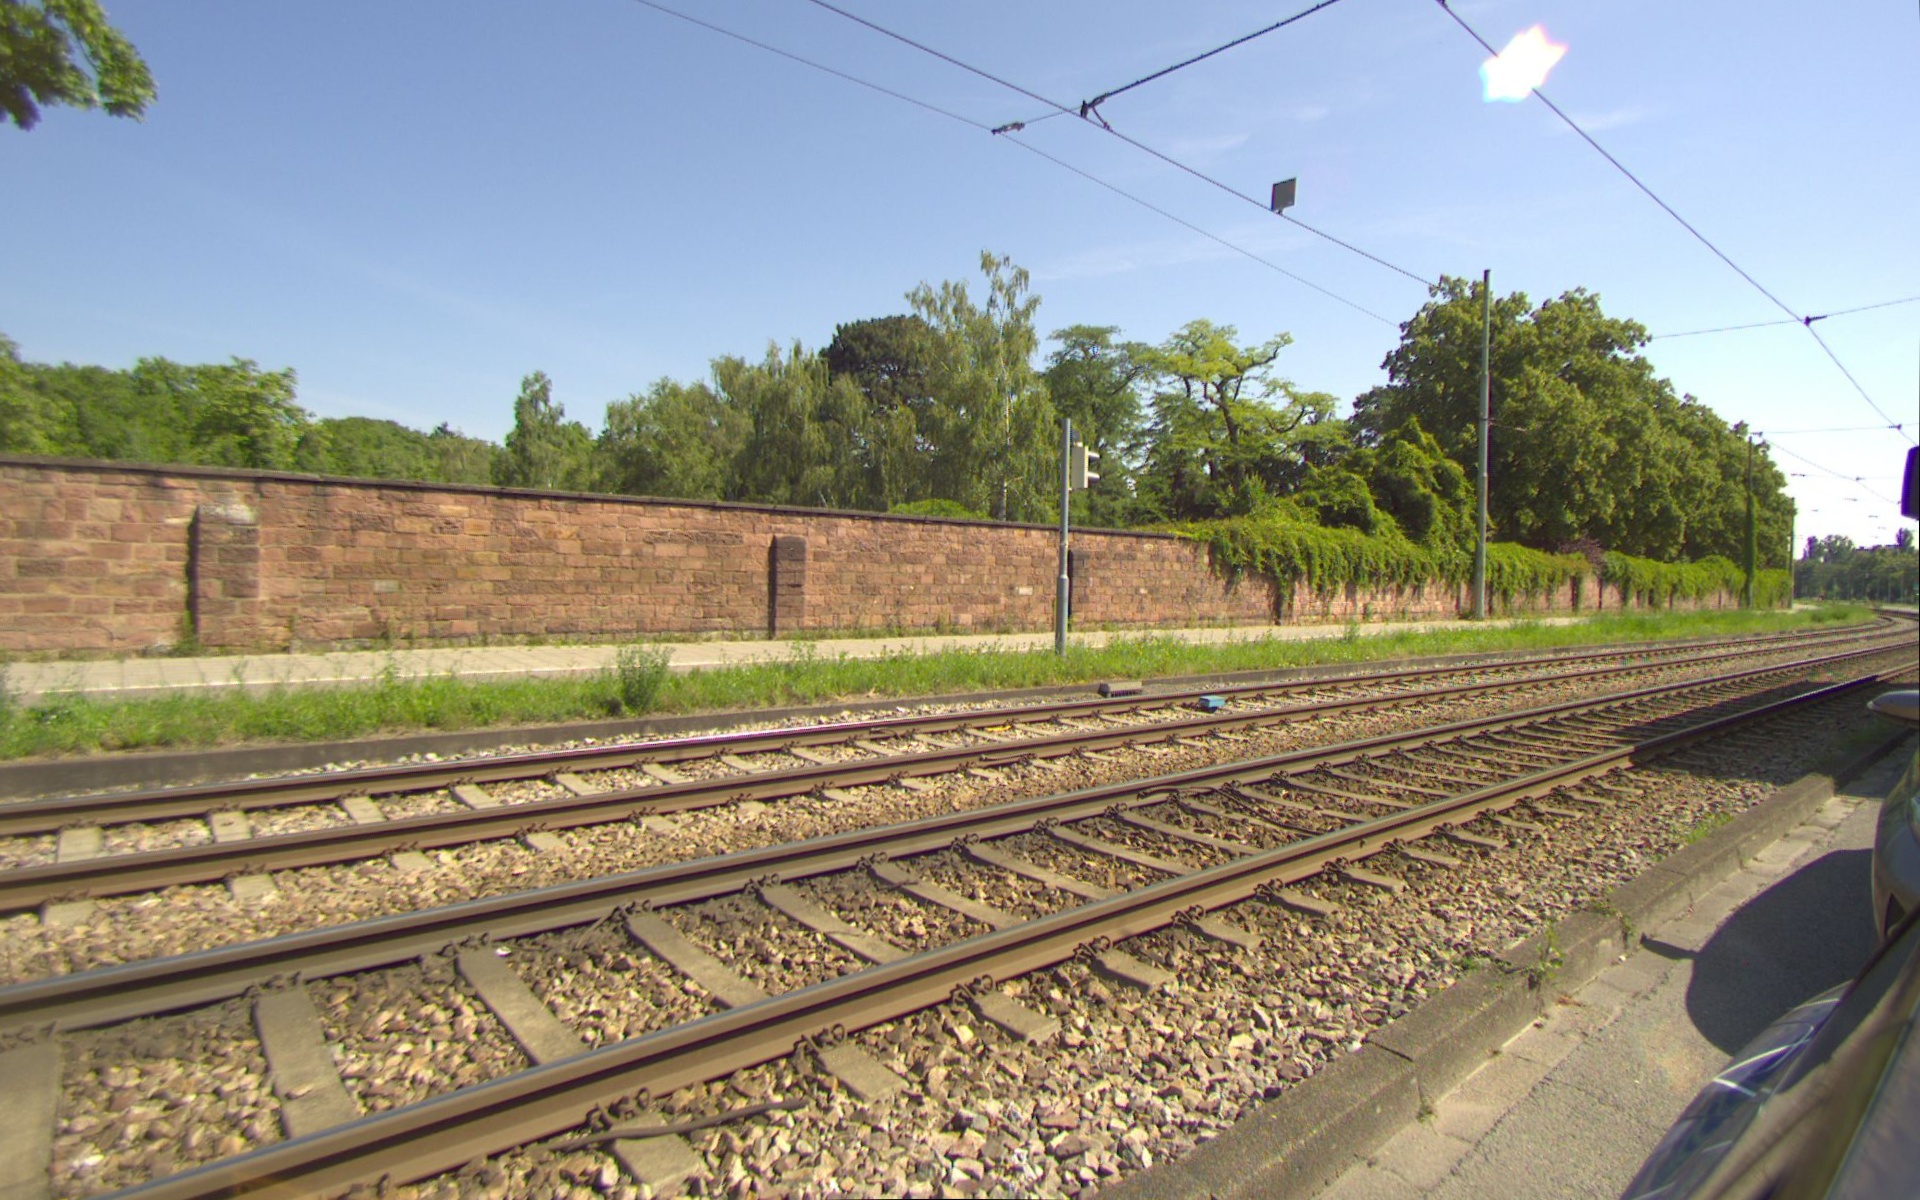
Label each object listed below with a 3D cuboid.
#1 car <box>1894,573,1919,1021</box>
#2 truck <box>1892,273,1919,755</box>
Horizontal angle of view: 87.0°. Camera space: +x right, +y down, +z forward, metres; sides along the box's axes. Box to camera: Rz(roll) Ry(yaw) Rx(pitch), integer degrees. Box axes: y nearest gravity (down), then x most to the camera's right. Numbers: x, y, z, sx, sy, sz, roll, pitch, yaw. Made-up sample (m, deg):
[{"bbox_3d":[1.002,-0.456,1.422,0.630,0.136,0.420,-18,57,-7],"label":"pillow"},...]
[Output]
[{"bbox_3d":[5.071,0.667,3.994,3.930,1.448,1.573,0,2,-41],"label":"car"},{"bbox_3d":[14.227,-0.652,12.010,14.652,3.927,2.934,0,2,-41],"label":"truck"}]
